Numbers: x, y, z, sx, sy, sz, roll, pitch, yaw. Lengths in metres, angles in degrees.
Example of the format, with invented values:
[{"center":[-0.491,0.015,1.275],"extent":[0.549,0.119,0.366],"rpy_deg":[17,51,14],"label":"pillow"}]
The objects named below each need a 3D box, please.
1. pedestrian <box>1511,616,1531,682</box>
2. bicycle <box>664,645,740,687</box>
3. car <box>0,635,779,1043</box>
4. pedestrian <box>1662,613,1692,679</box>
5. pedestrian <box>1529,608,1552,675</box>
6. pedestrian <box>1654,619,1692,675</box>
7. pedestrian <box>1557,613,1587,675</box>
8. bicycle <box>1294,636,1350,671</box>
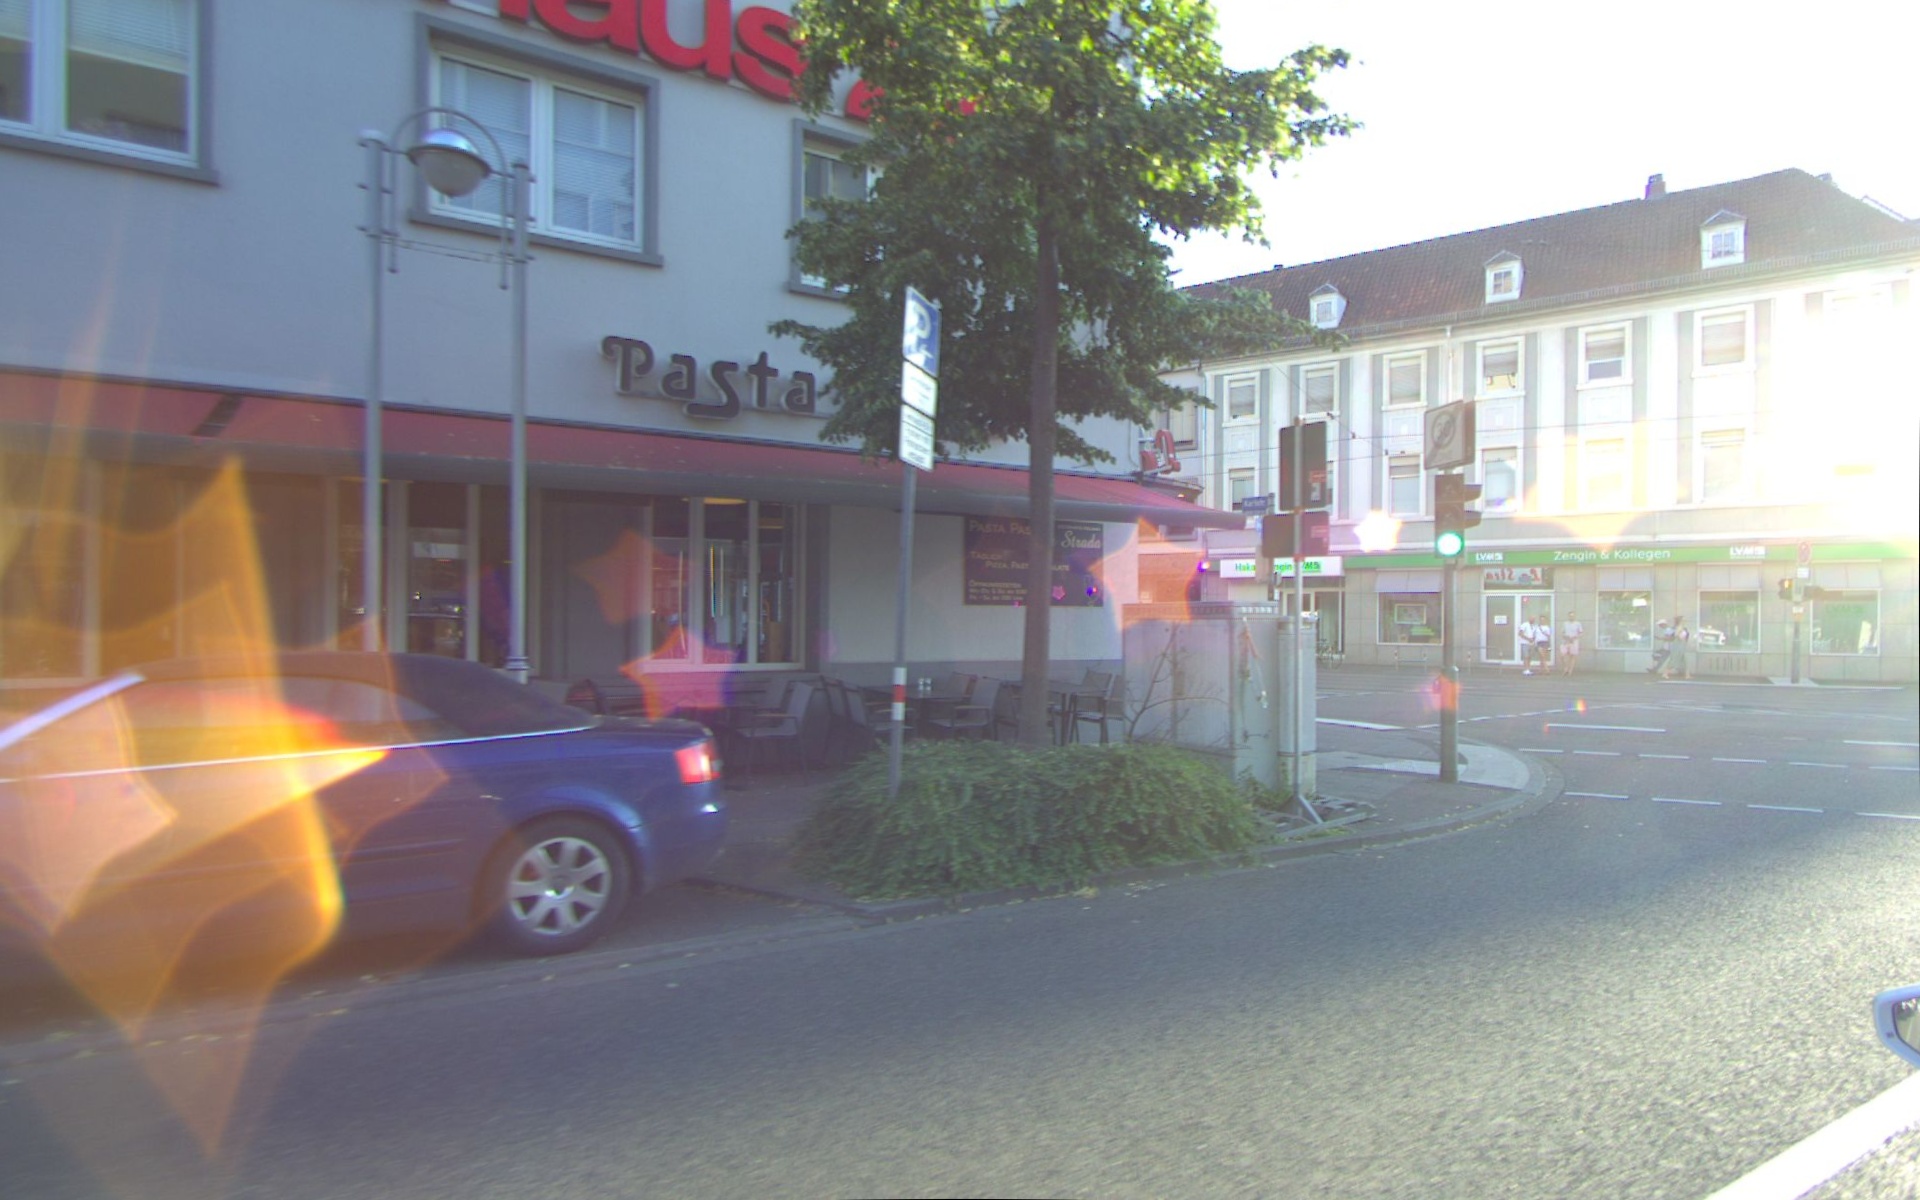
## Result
[{"center":[16.789,1.444,30.067],"extent":[0.487,1.954,0.575],"rpy_deg":[0,-1,25],"label":"pedestrian"},{"center":[-6.455,1.676,25.197],"extent":[0.597,0.996,1.856],"rpy_deg":[0,-4,36],"label":"bicycle"},{"center":[-3.234,0.882,4.719],"extent":[4.332,1.404,1.905],"rpy_deg":[1,-2,-32],"label":"car"},{"center":[19.875,1.266,27.836],"extent":[0.637,1.802,0.669],"rpy_deg":[0,-1,38],"label":"pedestrian"},{"center":[17.335,1.227,29.986],"extent":[0.520,1.954,0.639],"rpy_deg":[0,-1,24],"label":"pedestrian"},{"center":[20.489,1.339,28.876],"extent":[0.856,1.569,0.696],"rpy_deg":[0,-1,38],"label":"pedestrian"},{"center":[17.866,1.271,29.316],"extent":[0.688,1.768,0.637],"rpy_deg":[0,-1,38],"label":"pedestrian"},{"center":[11.782,1.726,32.705],"extent":[1.620,1.104,0.478],"rpy_deg":[-1,0,33],"label":"bicycle"}]
